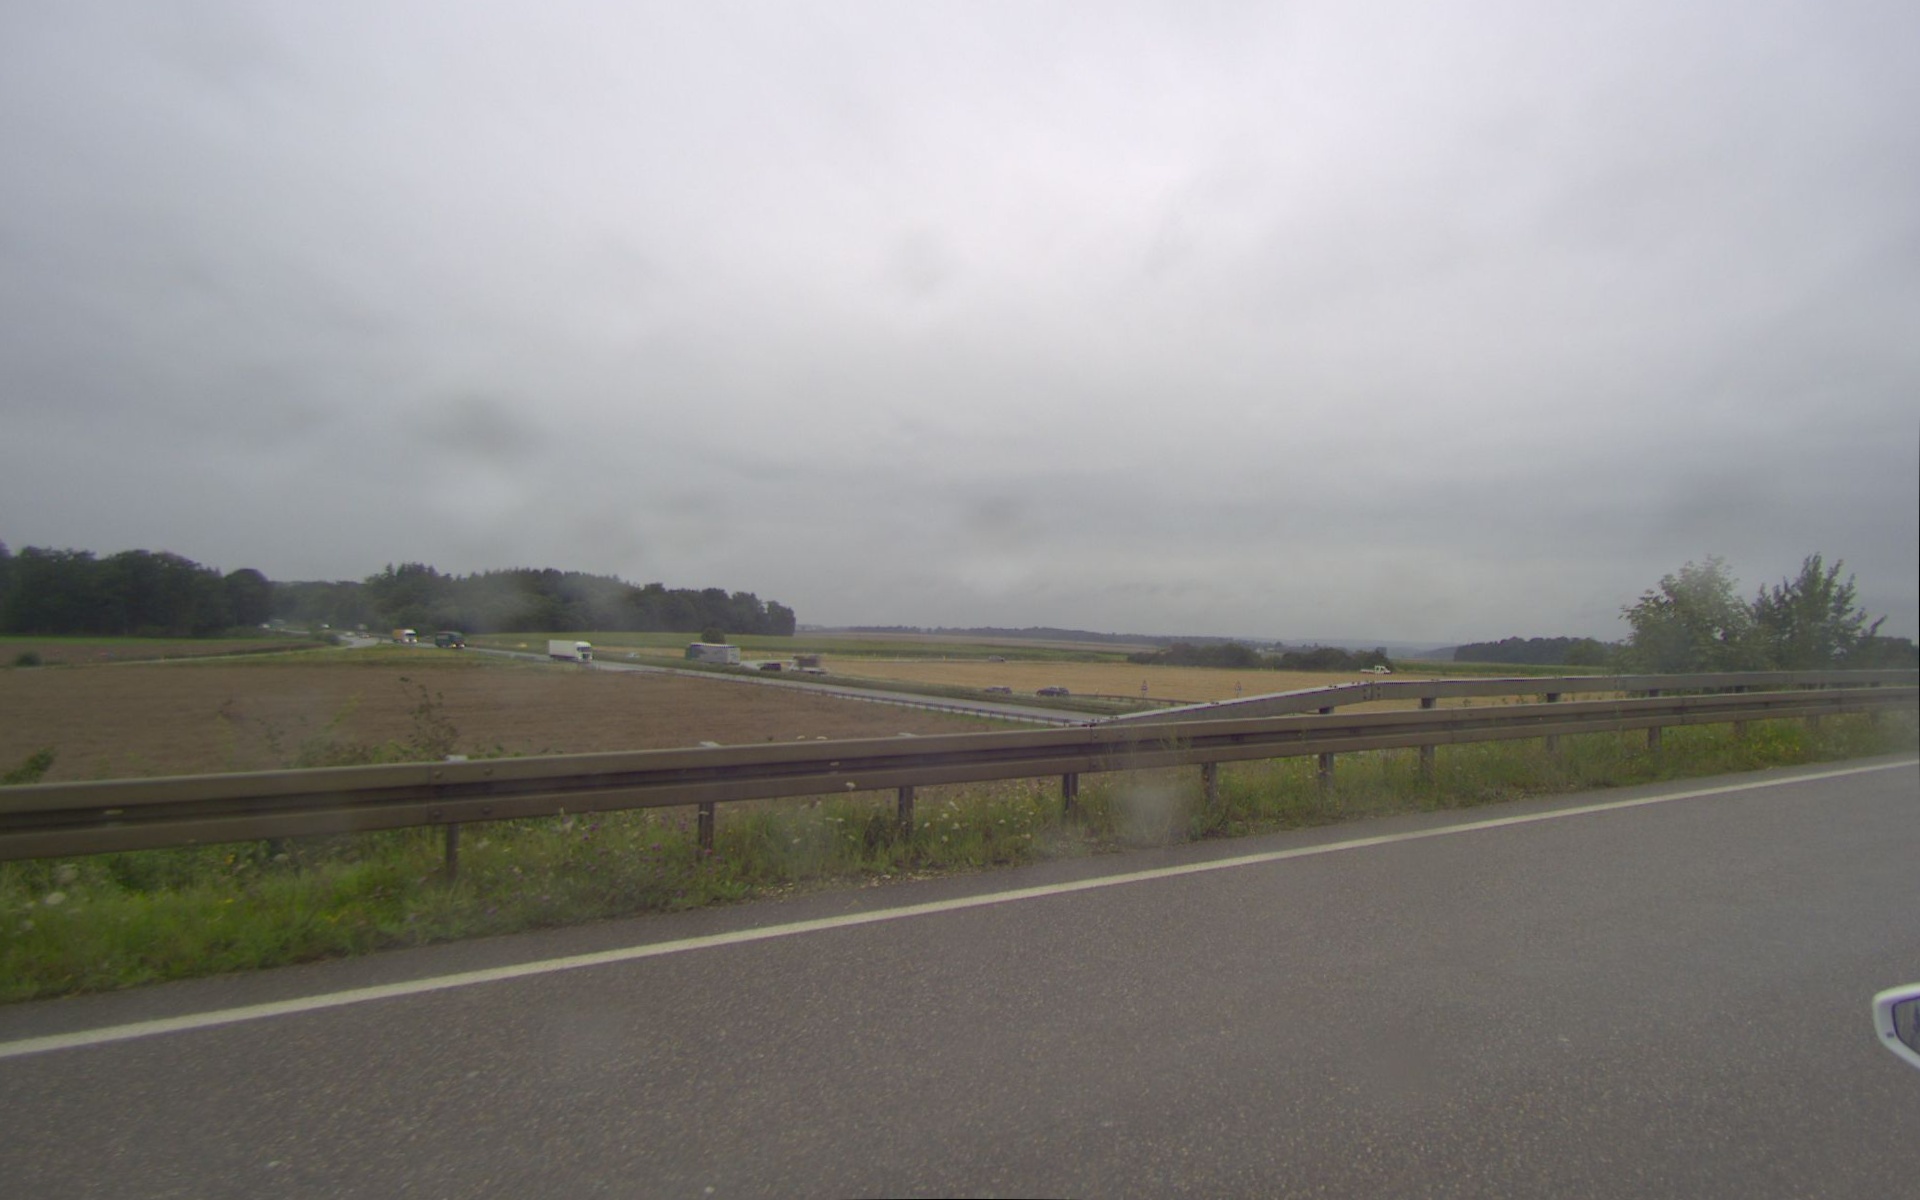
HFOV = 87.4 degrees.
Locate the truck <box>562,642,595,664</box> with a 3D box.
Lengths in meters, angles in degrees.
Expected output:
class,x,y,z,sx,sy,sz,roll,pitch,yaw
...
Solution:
class,x,y,z,sx,sy,sz,roll,pitch,yaw
truck,-76.061,10.522,199.970,2.764,3.920,10.519,4,-2,-40
